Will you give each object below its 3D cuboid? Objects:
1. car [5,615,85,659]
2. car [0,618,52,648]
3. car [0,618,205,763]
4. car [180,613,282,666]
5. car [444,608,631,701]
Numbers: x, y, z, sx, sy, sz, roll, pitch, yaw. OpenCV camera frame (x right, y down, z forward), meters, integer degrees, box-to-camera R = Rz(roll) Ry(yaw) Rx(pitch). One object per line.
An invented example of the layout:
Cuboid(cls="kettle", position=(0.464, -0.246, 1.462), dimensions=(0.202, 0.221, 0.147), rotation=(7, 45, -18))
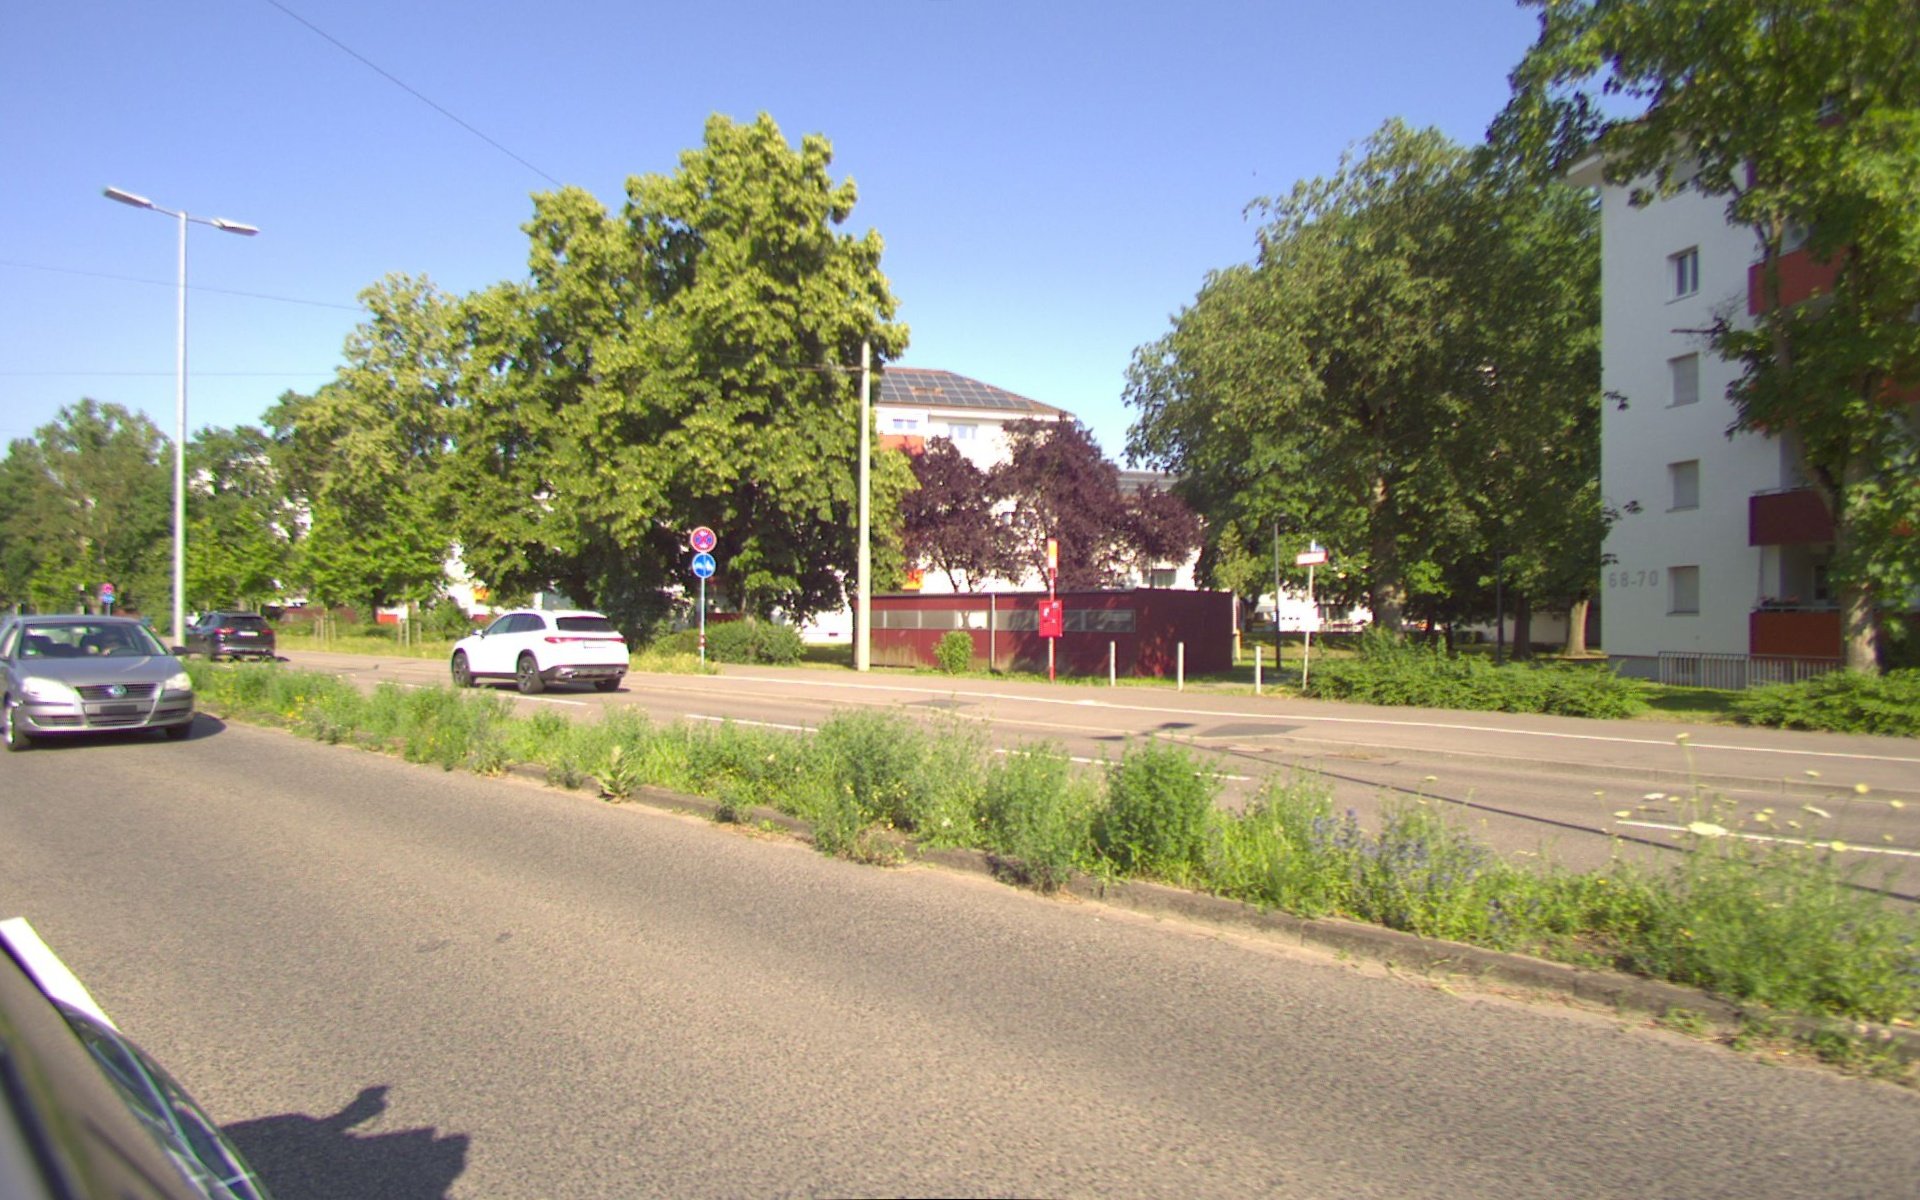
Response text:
Cuboid(cls="car", position=(-37.158, 1.481, 41.077), dimensions=(4.044, 1.692, 1.752), rotation=(-1, -3, 39))
Cuboid(cls="car", position=(-54.173, 1.918, 58.569), dimensions=(4.044, 1.692, 1.752), rotation=(-1, -3, 39))
Cuboid(cls="car", position=(-10.548, 0.951, 12.088), dimensions=(3.831, 1.439, 1.671), rotation=(-1, -1, 41))
Cuboid(cls="car", position=(-24.860, 1.343, 34.465), dimensions=(4.044, 1.692, 1.752), rotation=(-1, -3, 39))
Cuboid(cls="car", position=(-8.722, 1.073, 20.711), dimensions=(4.512, 1.692, 1.642), rotation=(-1, -3, 41))
